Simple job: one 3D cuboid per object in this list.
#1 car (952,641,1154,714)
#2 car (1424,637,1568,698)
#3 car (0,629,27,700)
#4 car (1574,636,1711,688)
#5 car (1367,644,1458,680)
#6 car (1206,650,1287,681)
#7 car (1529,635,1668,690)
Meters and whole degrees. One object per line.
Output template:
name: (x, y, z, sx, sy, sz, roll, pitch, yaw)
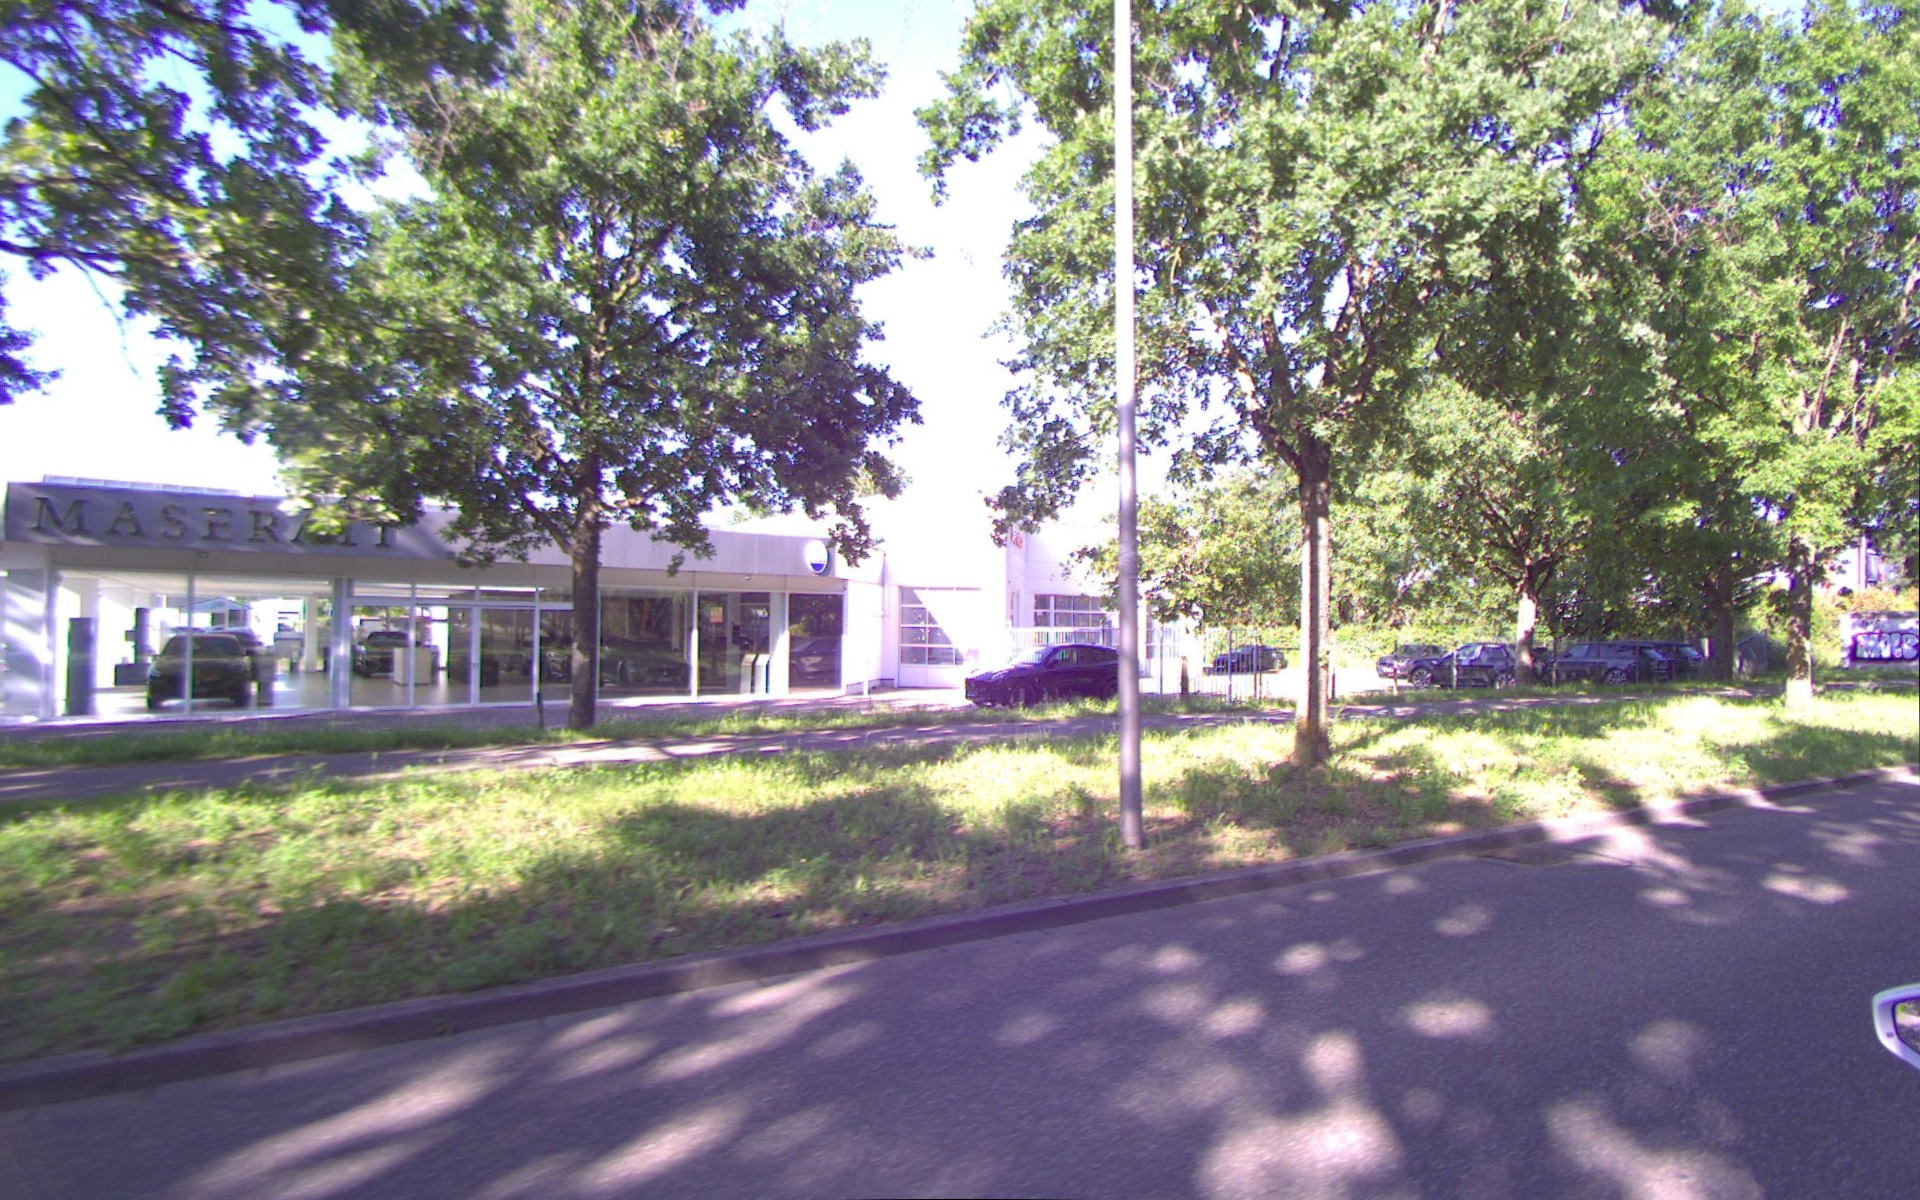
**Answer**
car: (2.426, 1.930, 25.861, 4.957, 1.619, 1.983, 2, 0, -31)
car: (18.663, 2.285, 35.108, 1.981, 1.825, 3.958, 2, 0, -36)
car: (-25.394, 1.562, 23.633, 4.912, 1.683, 2.000, 0, 0, -2)
car: (27.569, 2.456, 40.693, 1.980, 1.825, 4.163, 2, 0, -34)
car: (22.525, 3.044, 49.955, 4.838, 1.587, 1.979, 2, 0, -36)
car: (16.562, 3.733, 58.000, 4.838, 1.587, 1.979, 2, 0, -36)
car: (25.009, 2.399, 39.493, 1.980, 1.825, 4.163, 2, 0, -34)
